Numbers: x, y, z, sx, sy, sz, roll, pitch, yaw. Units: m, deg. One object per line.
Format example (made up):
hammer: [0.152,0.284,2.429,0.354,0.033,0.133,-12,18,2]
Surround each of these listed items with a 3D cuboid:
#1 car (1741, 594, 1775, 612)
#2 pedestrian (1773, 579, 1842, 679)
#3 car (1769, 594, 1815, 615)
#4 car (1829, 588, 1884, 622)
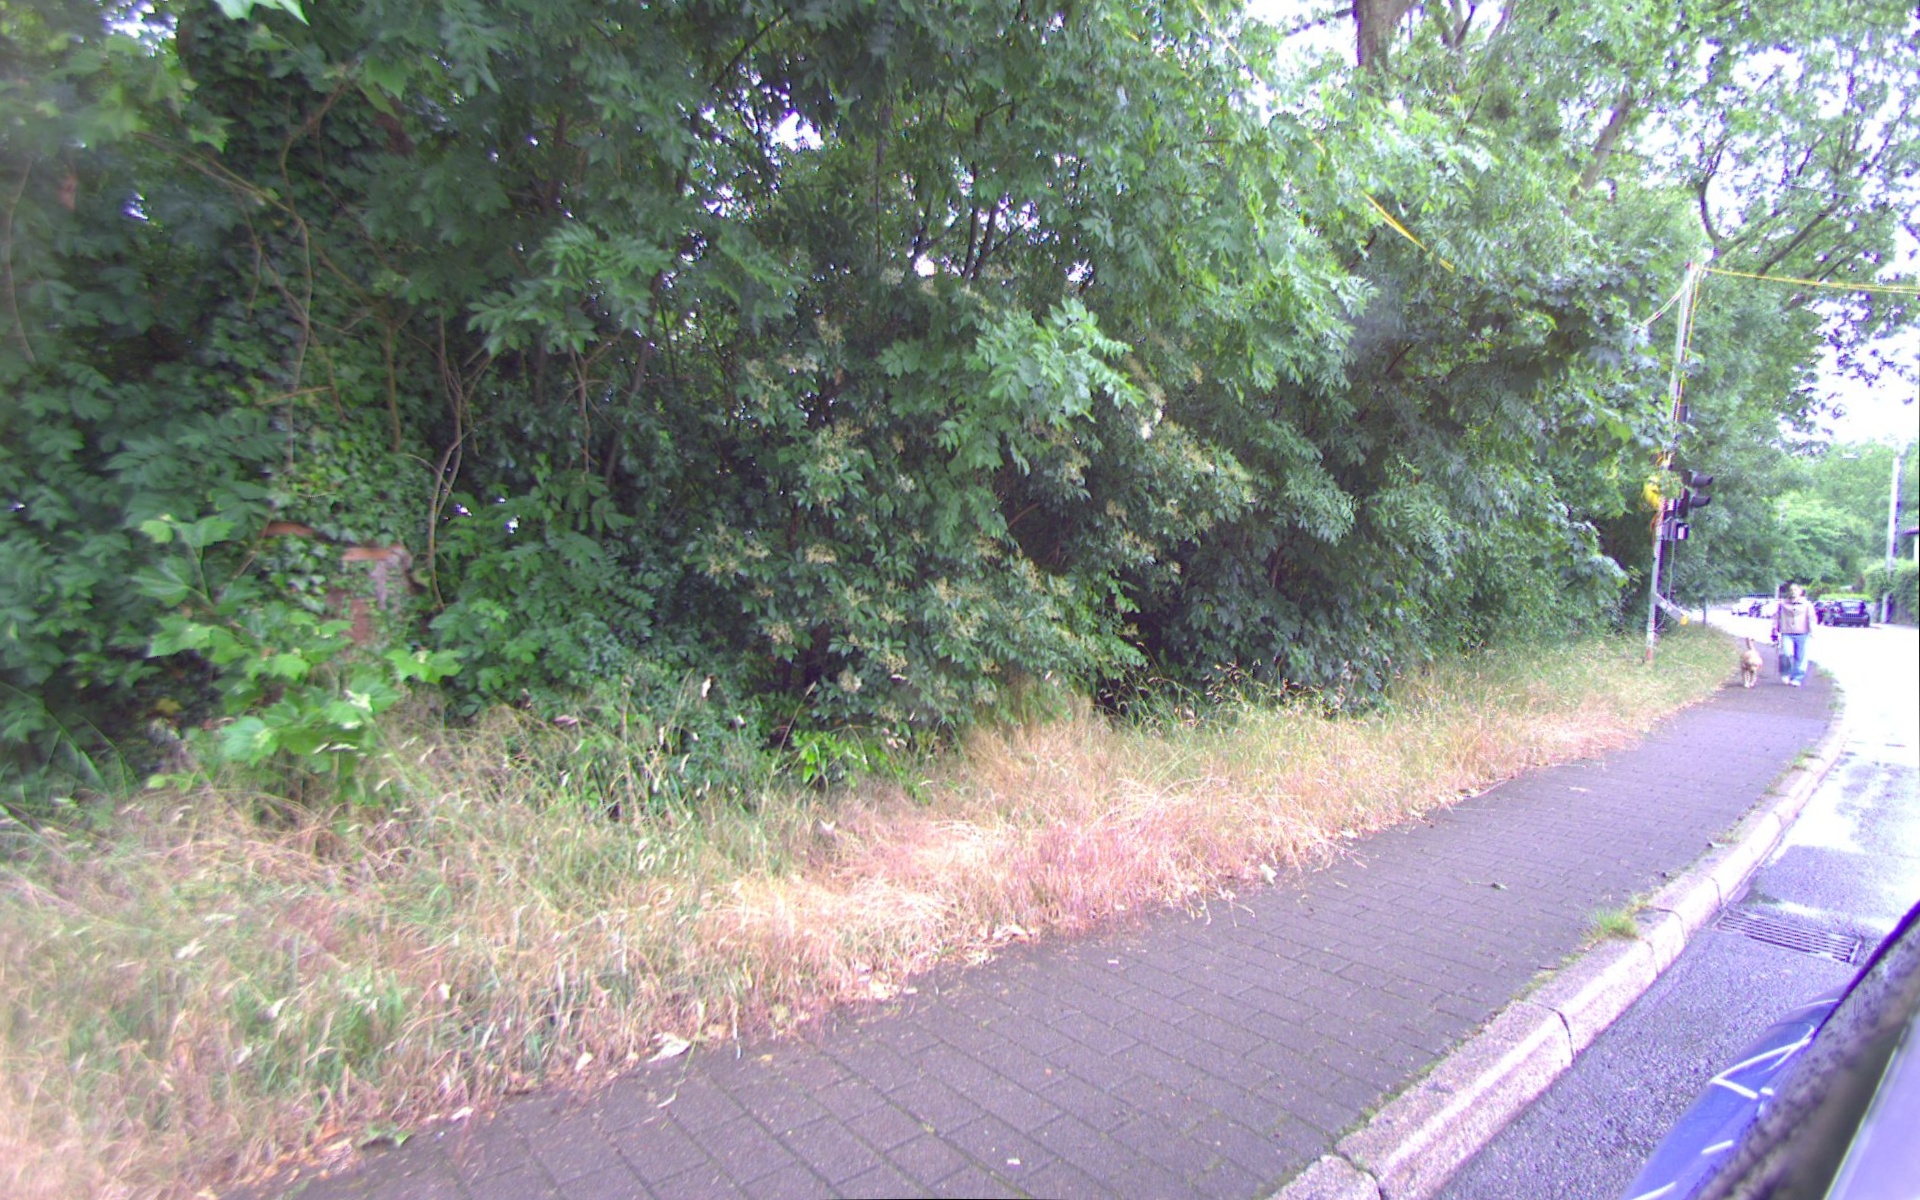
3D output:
car: [64.936,0.223,82.373,1.676,1.445,3.734,1,1,31]
pedestrian: [13.377,0.440,15.977,0.771,1.518,0.734,0,0,-42]
car: [60.742,0.300,73.920,2.055,1.504,4.508,1,1,33]
car: [51.055,0.284,57.708,1.869,1.848,4.075,1,1,35]
